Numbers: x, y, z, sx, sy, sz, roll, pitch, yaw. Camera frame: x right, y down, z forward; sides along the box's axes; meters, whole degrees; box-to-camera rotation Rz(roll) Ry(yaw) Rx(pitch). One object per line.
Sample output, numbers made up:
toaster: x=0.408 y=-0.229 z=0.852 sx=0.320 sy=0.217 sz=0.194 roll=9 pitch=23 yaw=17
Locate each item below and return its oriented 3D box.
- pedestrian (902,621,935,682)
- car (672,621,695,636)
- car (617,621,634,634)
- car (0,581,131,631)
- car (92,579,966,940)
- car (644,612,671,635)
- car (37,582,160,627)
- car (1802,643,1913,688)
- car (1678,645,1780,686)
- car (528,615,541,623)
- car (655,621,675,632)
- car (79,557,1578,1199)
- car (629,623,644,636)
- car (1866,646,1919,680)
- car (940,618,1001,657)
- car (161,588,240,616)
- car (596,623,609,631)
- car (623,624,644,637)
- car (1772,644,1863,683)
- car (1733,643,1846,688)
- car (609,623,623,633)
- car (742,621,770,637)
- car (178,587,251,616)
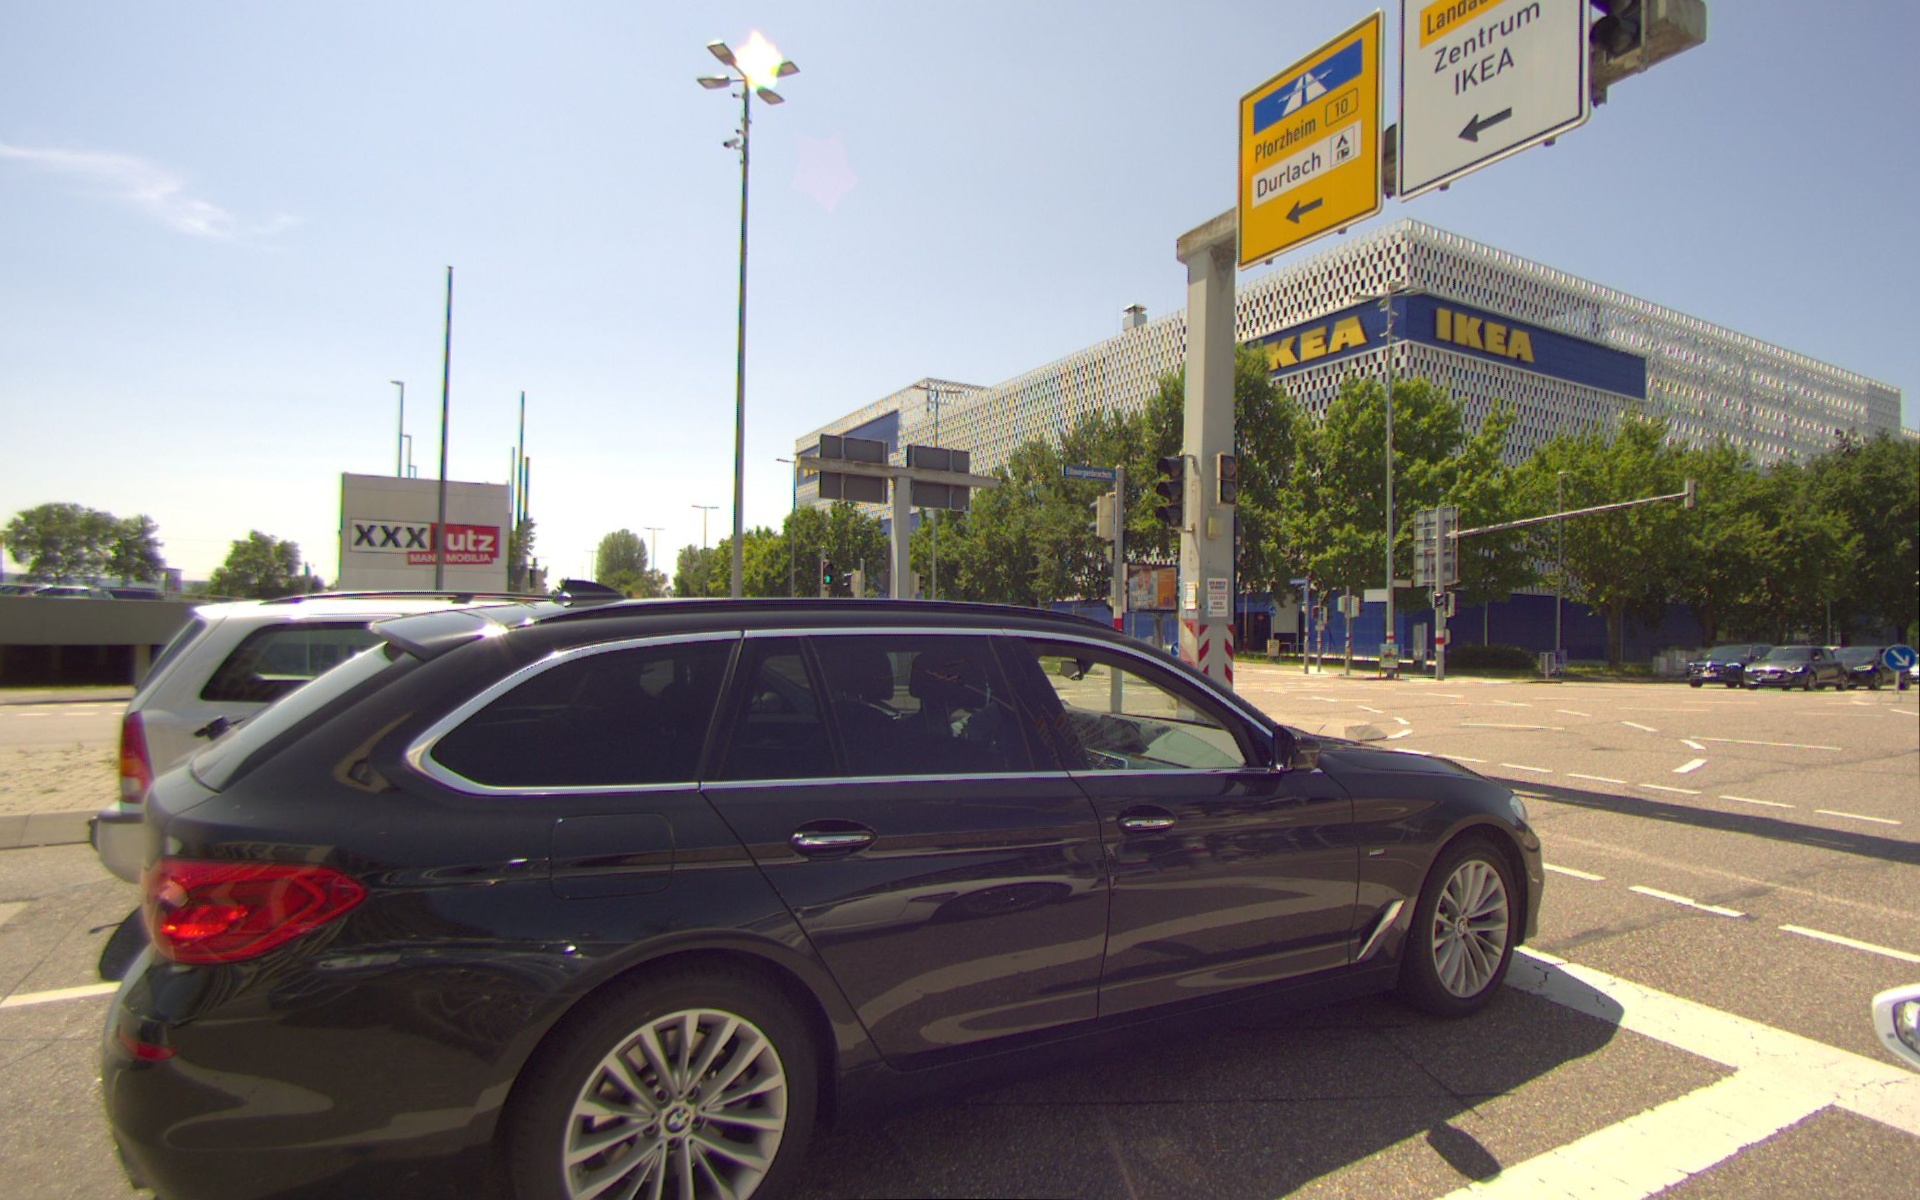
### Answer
pedestrian: x=-1.268 y=1.551 z=30.489 sx=0.816 sy=1.807 sz=0.601 roll=2 pitch=-2 yaw=-27
car: x=-35.218 y=3.602 z=128.022 sx=1.944 sy=1.903 sz=3.860 roll=2 pitch=-2 yaw=-29
car: x=-49.637 y=4.055 z=149.028 sx=1.609 sy=1.938 sz=3.471 roll=2 pitch=-2 yaw=-30
car: x=-39.562 y=0.290 z=44.326 sx=4.284 sy=2.040 sz=1.982 roll=2 pitch=-2 yaw=-34
car: x=-2.102 y=0.664 z=5.700 sx=3.959 sy=1.441 sz=1.685 roll=1 pitch=0 yaw=-29
car: x=-30.493 y=2.346 z=101.241 sx=1.973 sy=2.212 sz=5.019 roll=1 pitch=-2 yaw=-25
car: x=-42.100 y=0.264 z=49.253 sx=4.285 sy=2.040 sz=1.981 roll=2 pitch=-2 yaw=-34
car: x=32.347 y=2.371 z=36.189 sx=4.193 sy=1.524 sz=1.719 roll=3 pitch=-4 yaw=-30
car: x=28.696 y=2.447 z=37.476 sx=3.992 sy=1.442 sz=1.653 roll=3 pitch=-3 yaw=-31
car: x=-80.175 y=3.605 z=189.278 sx=1.836 sy=1.528 sz=3.971 roll=2 pitch=-2 yaw=-28
car: x=-42.511 y=3.829 z=144.790 sx=1.976 sy=1.572 sz=3.970 roll=2 pitch=-2 yaw=-29
car: x=0.063 y=0.731 z=3.559 sx=4.505 sy=1.459 sz=1.788 roll=2 pitch=-1 yaw=-31
car: x=-45.746 y=4.186 z=142.005 sx=1.607 sy=1.835 sz=3.474 roll=1 pitch=-2 yaw=-27
car: x=43.512 y=2.913 z=46.221 sx=3.870 sy=1.505 sz=1.642 roll=3 pitch=-3 yaw=-31
car: x=0.530 y=1.991 z=53.508 sx=1.750 sy=2.040 sz=3.813 roll=1 pitch=-2 yaw=-26
car: x=-52.164 y=0.166 z=69.087 sx=4.086 sy=1.764 sz=1.770 roll=2 pitch=-2 yaw=-30
car: x=-60.703 y=4.548 z=170.482 sx=1.608 sy=1.368 sz=3.472 roll=2 pitch=-2 yaw=-29
car: x=-42.671 y=4.002 z=131.080 sx=1.975 sy=1.572 sz=3.972 roll=2 pitch=-2 yaw=-27
car: x=35.635 y=2.647 z=41.742 sx=3.870 sy=1.564 sz=1.718 roll=3 pitch=-3 yaw=-31
car: x=27.133 y=2.163 z=32.843 sx=3.671 sy=1.407 sz=1.637 roll=3 pitch=-4 yaw=-30
car: x=-55.404 y=4.541 z=161.815 sx=1.608 sy=1.629 sz=3.471 roll=2 pitch=-2 yaw=-29
car: x=-23.030 y=3.232 z=113.201 sx=2.031 sy=1.769 sz=3.860 roll=2 pitch=-2 yaw=-29
car: x=-57.604 y=0.143 z=77.699 sx=4.278 sy=2.040 sz=1.985 roll=2 pitch=-2 yaw=-30
